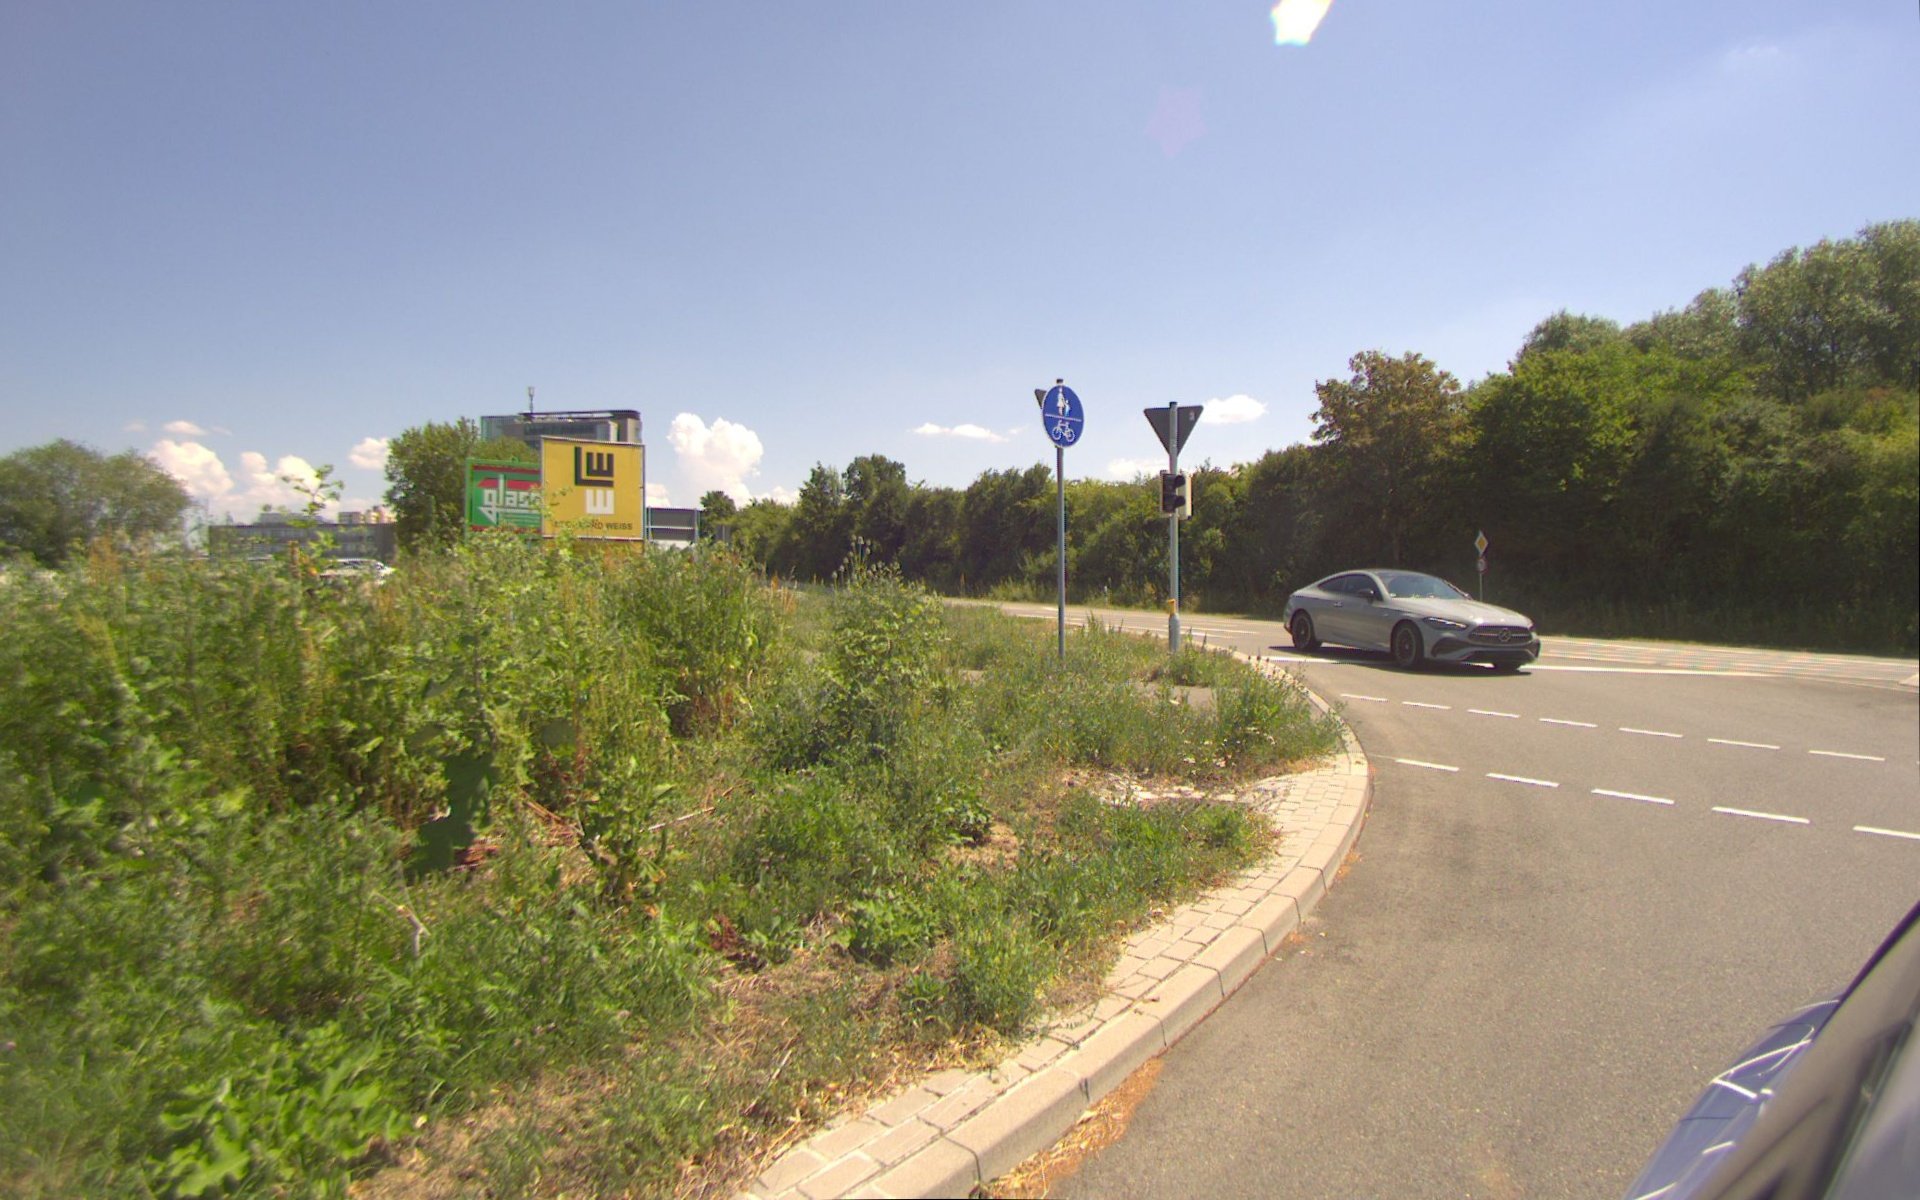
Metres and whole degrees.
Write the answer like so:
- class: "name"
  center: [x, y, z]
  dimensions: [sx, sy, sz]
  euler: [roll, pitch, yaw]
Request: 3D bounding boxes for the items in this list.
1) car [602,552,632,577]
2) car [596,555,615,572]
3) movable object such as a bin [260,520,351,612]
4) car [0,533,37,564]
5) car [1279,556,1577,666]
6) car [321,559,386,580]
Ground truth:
- class: "car"
  center: [-30.869, -3.216, 90.970]
  dimensions: [1.959, 2.038, 4.007]
  euler: [1, 2, -28]
- class: "car"
  center: [-46.054, -4.725, 131.480]
  dimensions: [1.958, 2.038, 4.010]
  euler: [2, 2, -15]
- class: "movable object such as a bin"
  center: [-31.912, -1.731, 49.620]
  dimensions: [2.927, 4.094, 8.120]
  euler: [1, 2, -28]
- class: "car"
  center: [-52.913, -2.844, 55.068]
  dimensions: [1.960, 1.660, 4.005]
  euler: [2, 2, -5]
- class: "car"
  center: [7.105, 0.096, 16.003]
  dimensions: [1.883, 1.460, 4.491]
  euler: [1, 1, -12]
- class: "car"
  center: [-44.184, -2.224, 73.798]
  dimensions: [3.918, 1.548, 1.879]
  euler: [-1, 1, -26]
